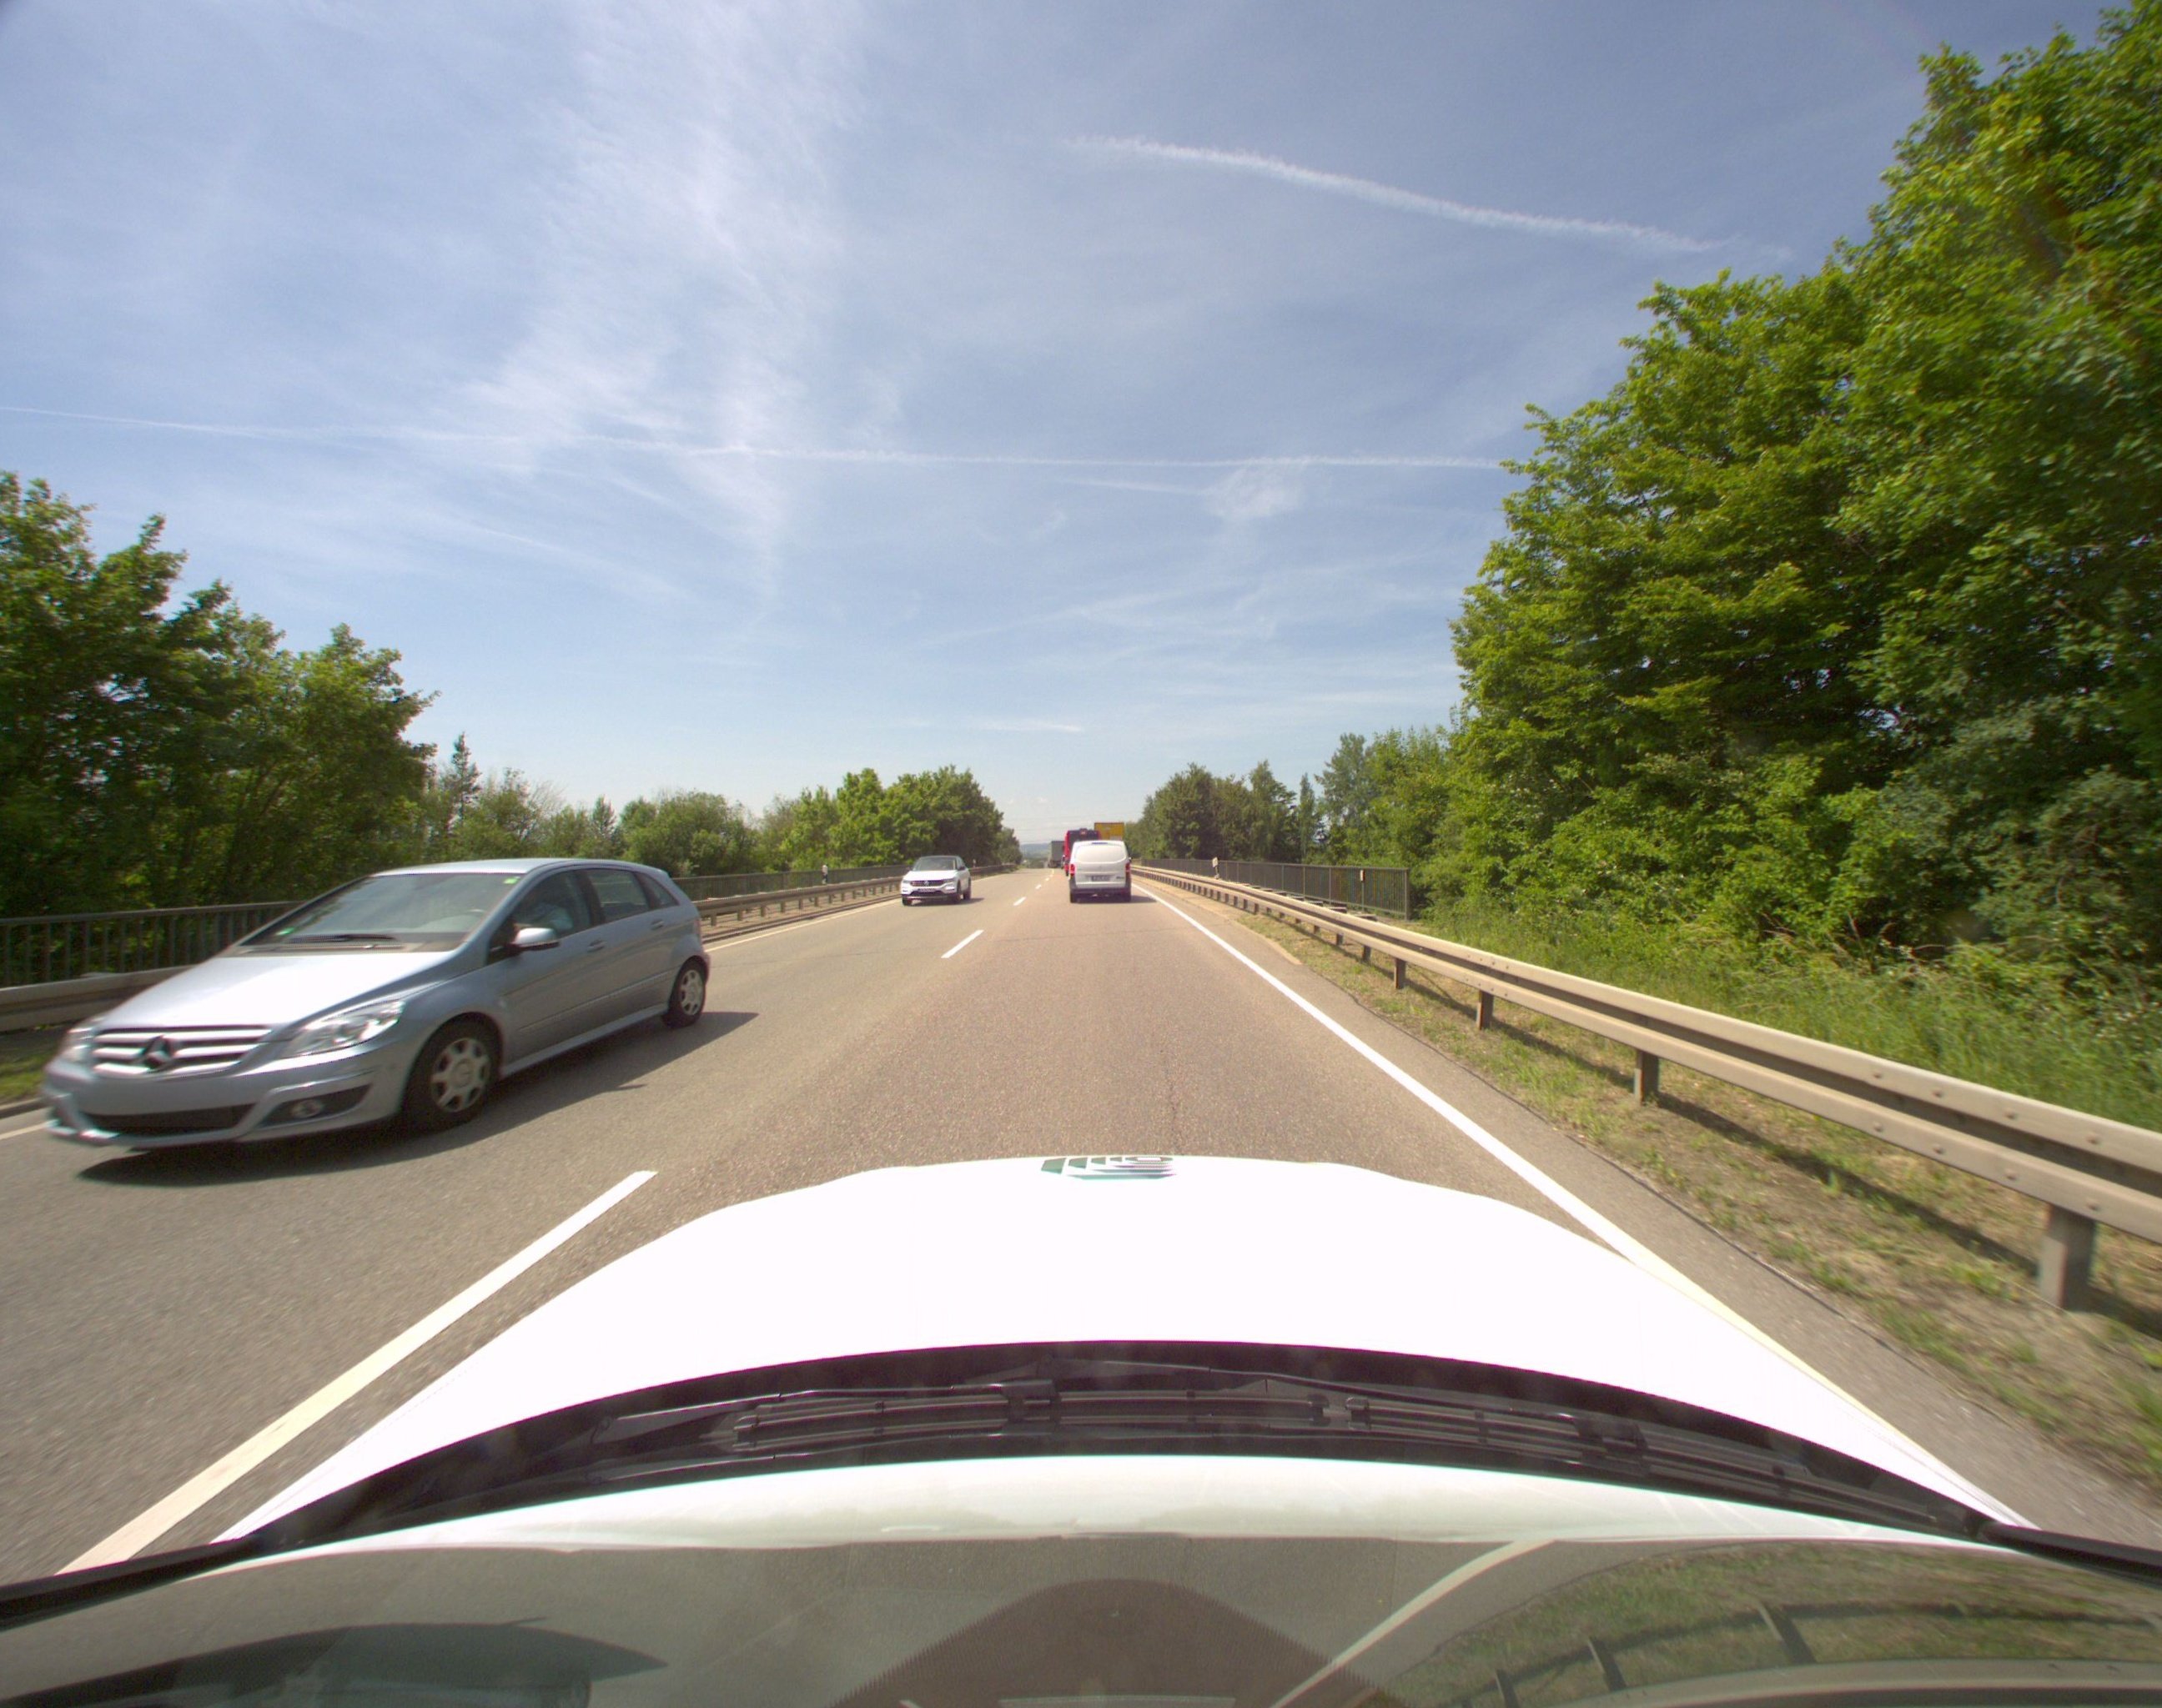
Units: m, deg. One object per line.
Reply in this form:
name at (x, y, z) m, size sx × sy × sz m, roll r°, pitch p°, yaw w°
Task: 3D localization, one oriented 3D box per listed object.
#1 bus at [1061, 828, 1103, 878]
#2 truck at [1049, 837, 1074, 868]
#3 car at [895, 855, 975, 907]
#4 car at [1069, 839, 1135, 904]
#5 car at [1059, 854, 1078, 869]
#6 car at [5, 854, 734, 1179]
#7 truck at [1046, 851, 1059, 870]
bus at (0.049, -0.064, 61.817) m, size 2.738 × 3.353 × 13.217 m, roll -2°, pitch 0°, yaw 0°
truck at (-3.102, -0.193, 125.275) m, size 3.479 × 4.423 × 14.891 m, roll -2°, pitch 0°, yaw -2°
car at (-4.772, 0.825, 27.248) m, size 1.874 × 1.511 × 4.542 m, roll -2°, pitch 0°, yaw -1°
car at (0.622, 0.489, 25.899) m, size 1.917 × 1.889 × 4.000 m, roll -1°, pitch 0°, yaw 0°
car at (-1.554, 0.957, 102.514) m, size 1.991 × 1.816 × 3.991 m, roll 0°, pitch 0°, yaw -6°
car at (-4.447, 0.801, 6.201) m, size 1.654 × 1.551 × 4.338 m, roll -2°, pitch 0°, yaw 1°
truck at (-7.327, 1.587, 210.587) m, size 3.028 × 4.454 × 14.885 m, roll -2°, pitch 0°, yaw -3°
